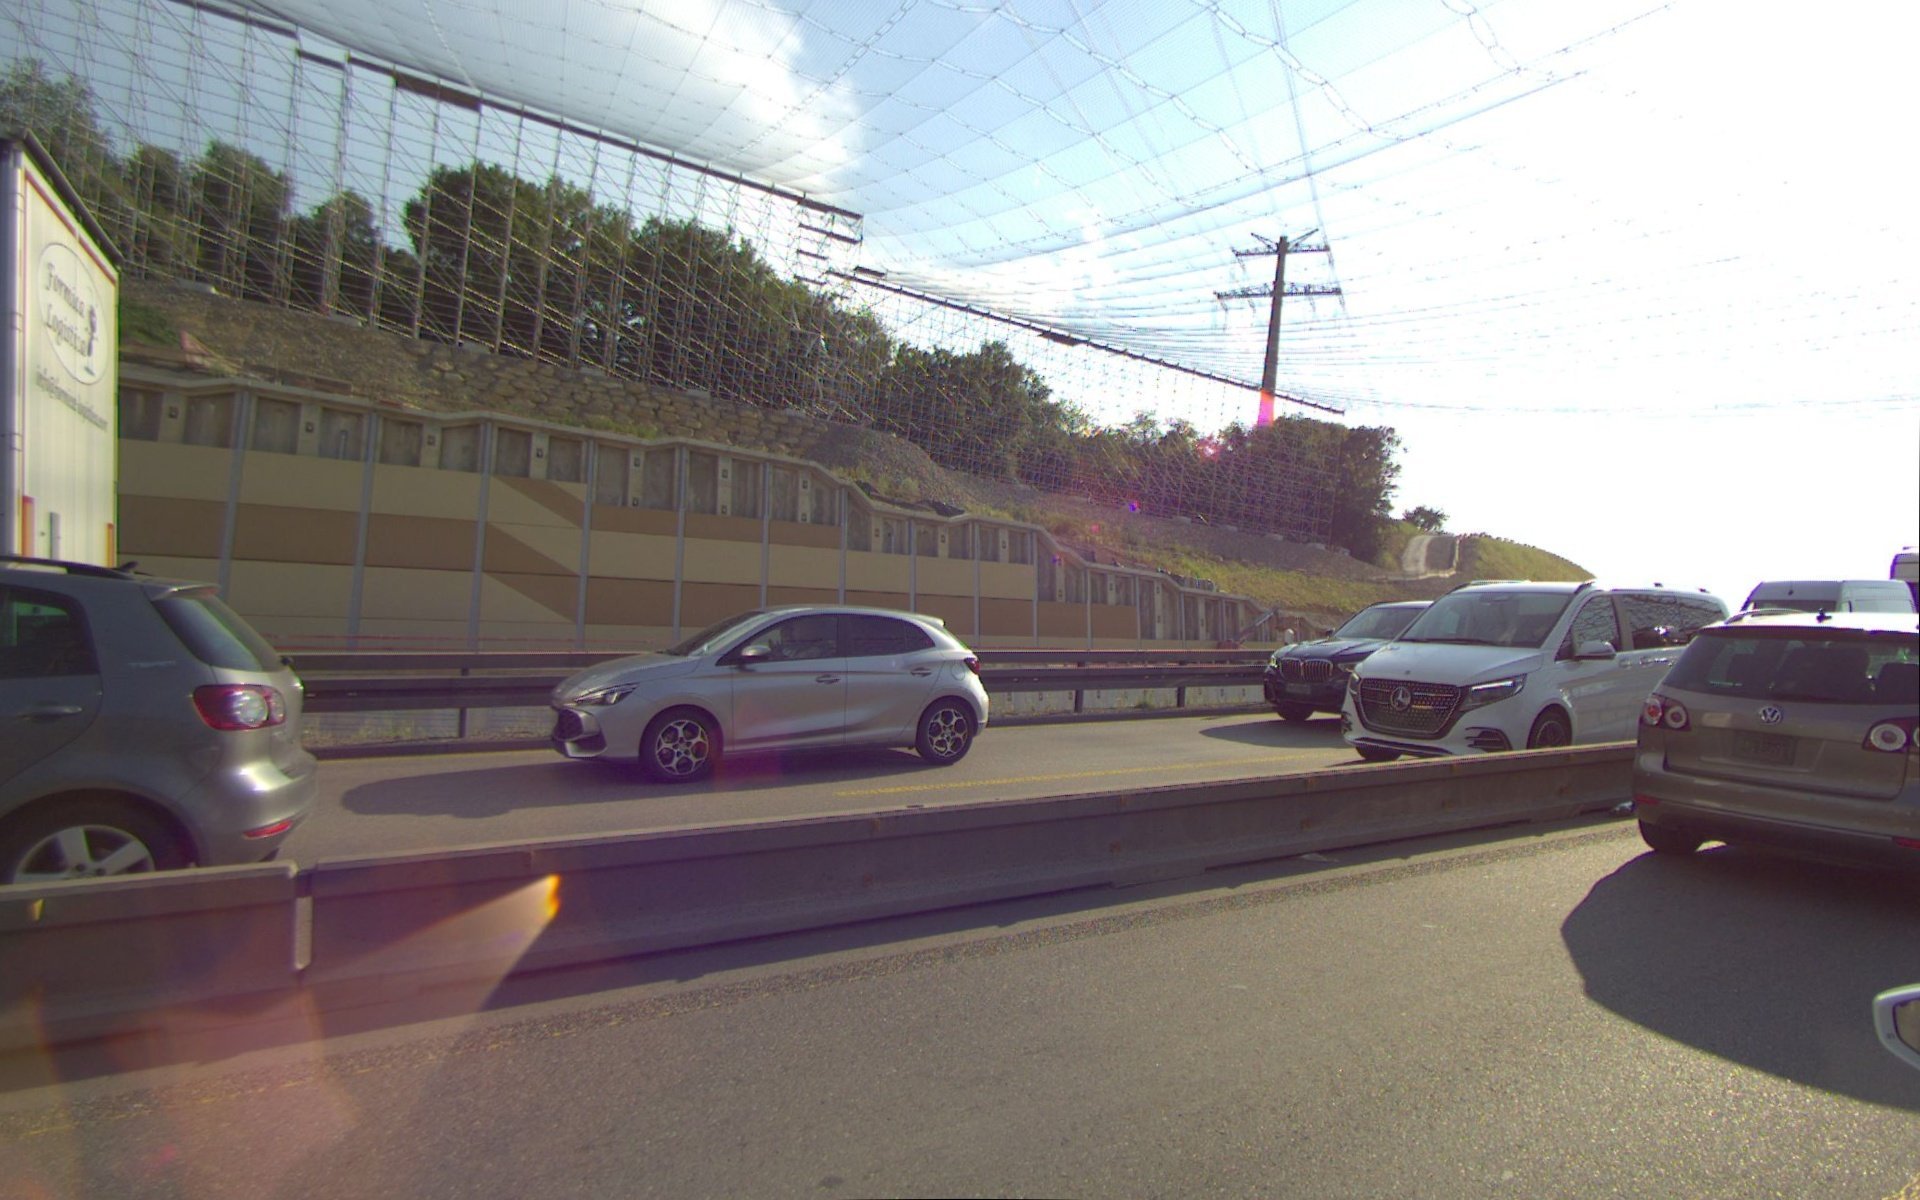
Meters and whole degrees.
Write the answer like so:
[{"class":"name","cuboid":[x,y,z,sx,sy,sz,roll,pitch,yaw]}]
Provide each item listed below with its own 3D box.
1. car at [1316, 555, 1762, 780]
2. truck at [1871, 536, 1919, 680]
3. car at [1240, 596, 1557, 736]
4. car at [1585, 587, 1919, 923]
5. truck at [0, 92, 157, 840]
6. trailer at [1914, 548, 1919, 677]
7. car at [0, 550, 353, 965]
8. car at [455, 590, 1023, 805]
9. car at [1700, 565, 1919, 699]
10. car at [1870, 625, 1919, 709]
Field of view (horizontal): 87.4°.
[{"class":"car","cuboid":[6.237,0.632,10.588,5.223,1.894,1.798,2,0,-32]},{"class":"truck","cuboid":[29.577,0.321,29.428,7.131,3.962,2.614,2,0,-34]},{"class":"car","cuboid":[6.504,0.908,14.705,4.882,1.750,1.814,2,-1,-32]},{"class":"car","cuboid":[6.012,0.798,6.461,3.952,1.617,1.684,2,0,-30]},{"class":"truck","cuboid":[-11.975,-0.968,3.458,14.005,4.283,2.708,2,0,-31]},{"class":"trailer","cuboid":[36.214,0.588,34.341,13.201,4.069,2.652,2,0,-35]},{"class":"car","cuboid":[-4.853,0.561,3.956,4.171,1.572,1.573,2,0,-32]},{"class":"car","cuboid":[-1.918,0.774,9.372,4.854,1.560,1.782,2,0,-32]},{"class":"car","cuboid":[20.174,0.742,23.556,7.007,2.749,2.228,2,0,-33]},{"class":"car","cuboid":[18.623,1.233,18.490,4.473,1.438,1.796,2,0,-35]}]
